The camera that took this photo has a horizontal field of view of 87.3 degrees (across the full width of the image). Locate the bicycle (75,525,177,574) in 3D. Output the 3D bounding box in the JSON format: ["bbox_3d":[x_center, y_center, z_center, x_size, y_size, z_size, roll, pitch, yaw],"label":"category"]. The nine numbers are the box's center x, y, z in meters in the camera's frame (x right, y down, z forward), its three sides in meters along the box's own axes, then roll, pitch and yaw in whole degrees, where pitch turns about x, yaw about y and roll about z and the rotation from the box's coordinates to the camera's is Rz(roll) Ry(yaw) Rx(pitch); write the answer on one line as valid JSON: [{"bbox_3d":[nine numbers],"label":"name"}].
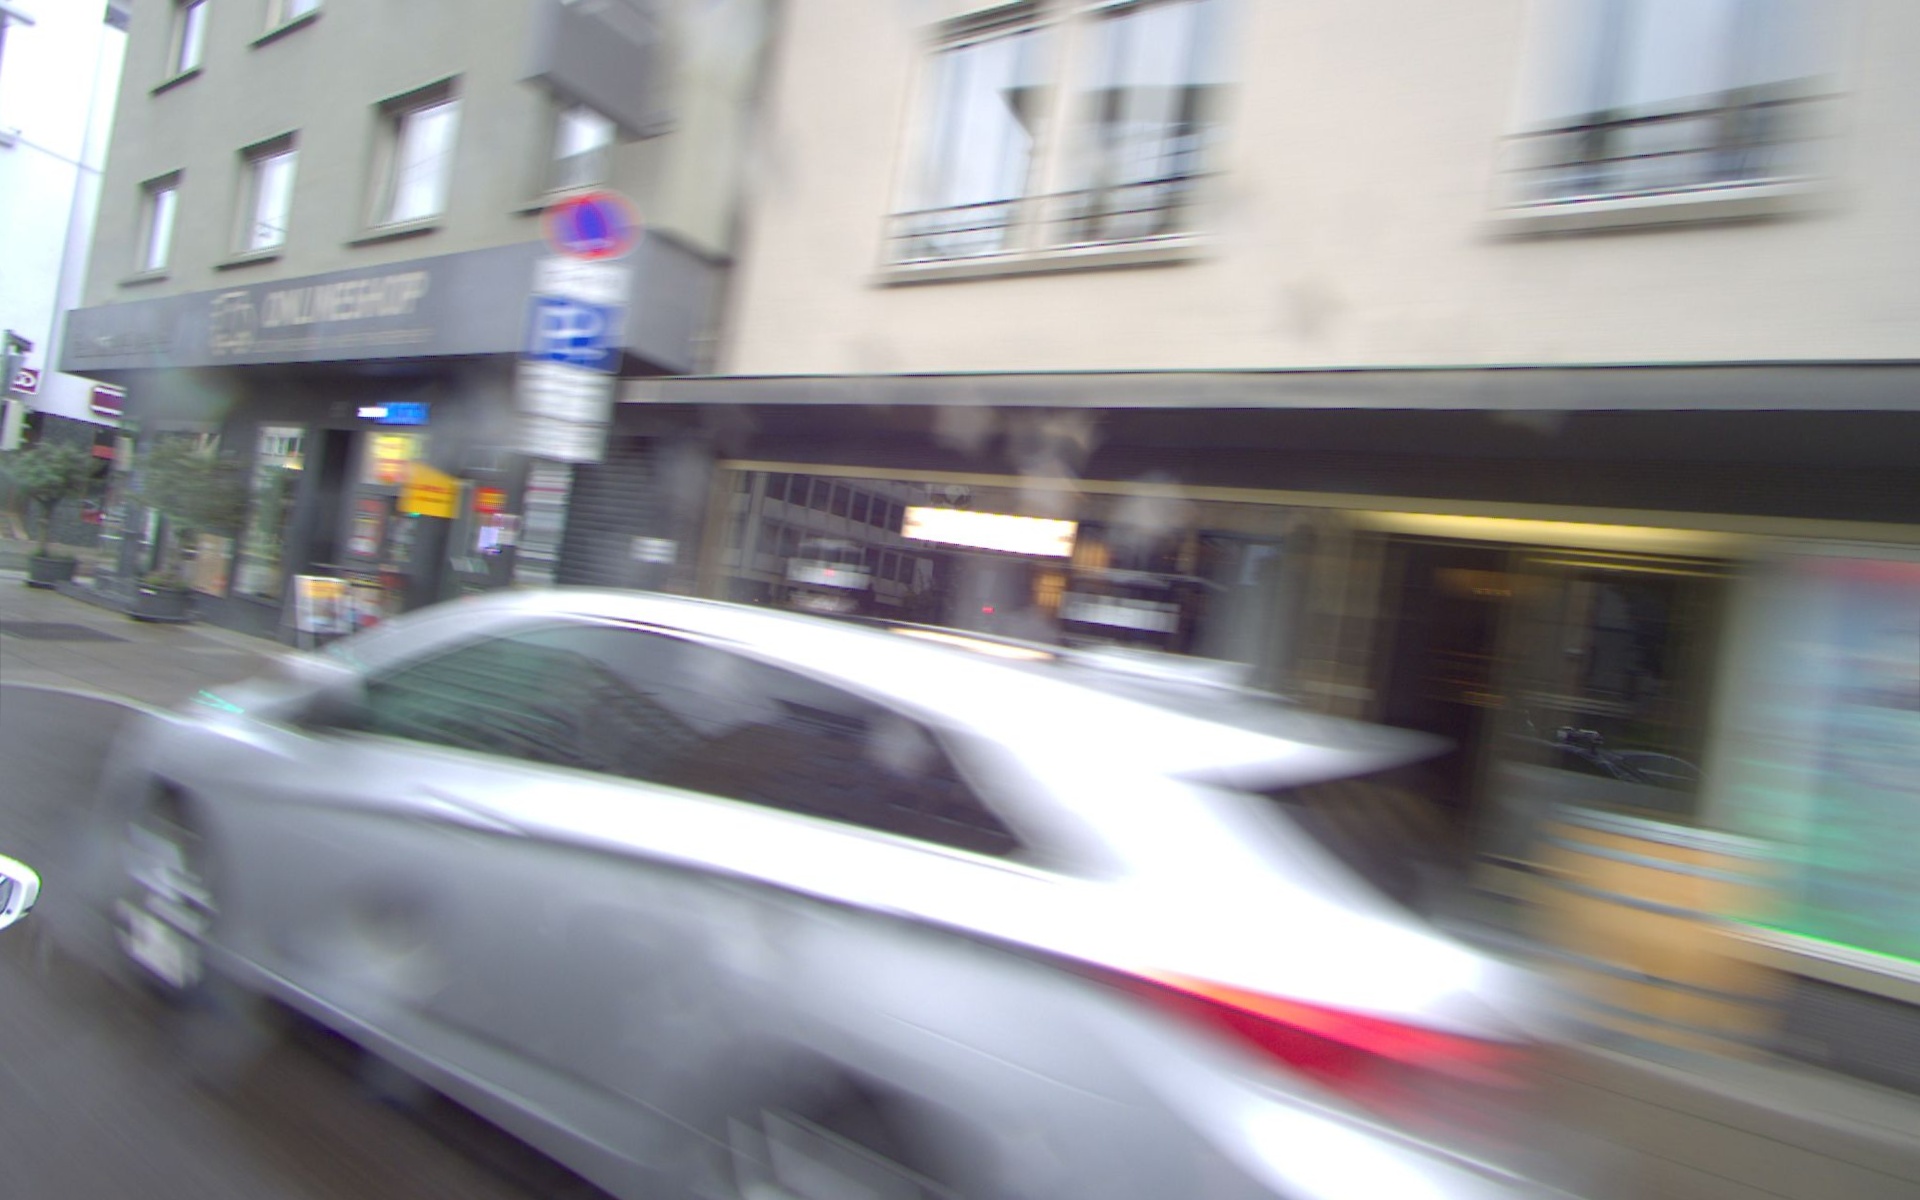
[{"bbox_3d":[-22.942,-1.387,27.718,0.743,1.022,1.930,7,-2,29],"label":"bicycle"}]

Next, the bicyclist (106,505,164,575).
[{"bbox_3d":[-22.801,-1.661,27.816,0.744,1.766,0.842,7,-1,29],"label":"bicyclist"}]

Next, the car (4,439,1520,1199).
[{"bbox_3d":[-0.845,0.550,3.306,4.543,1.612,2.029,7,-2,30],"label":"car"}]
